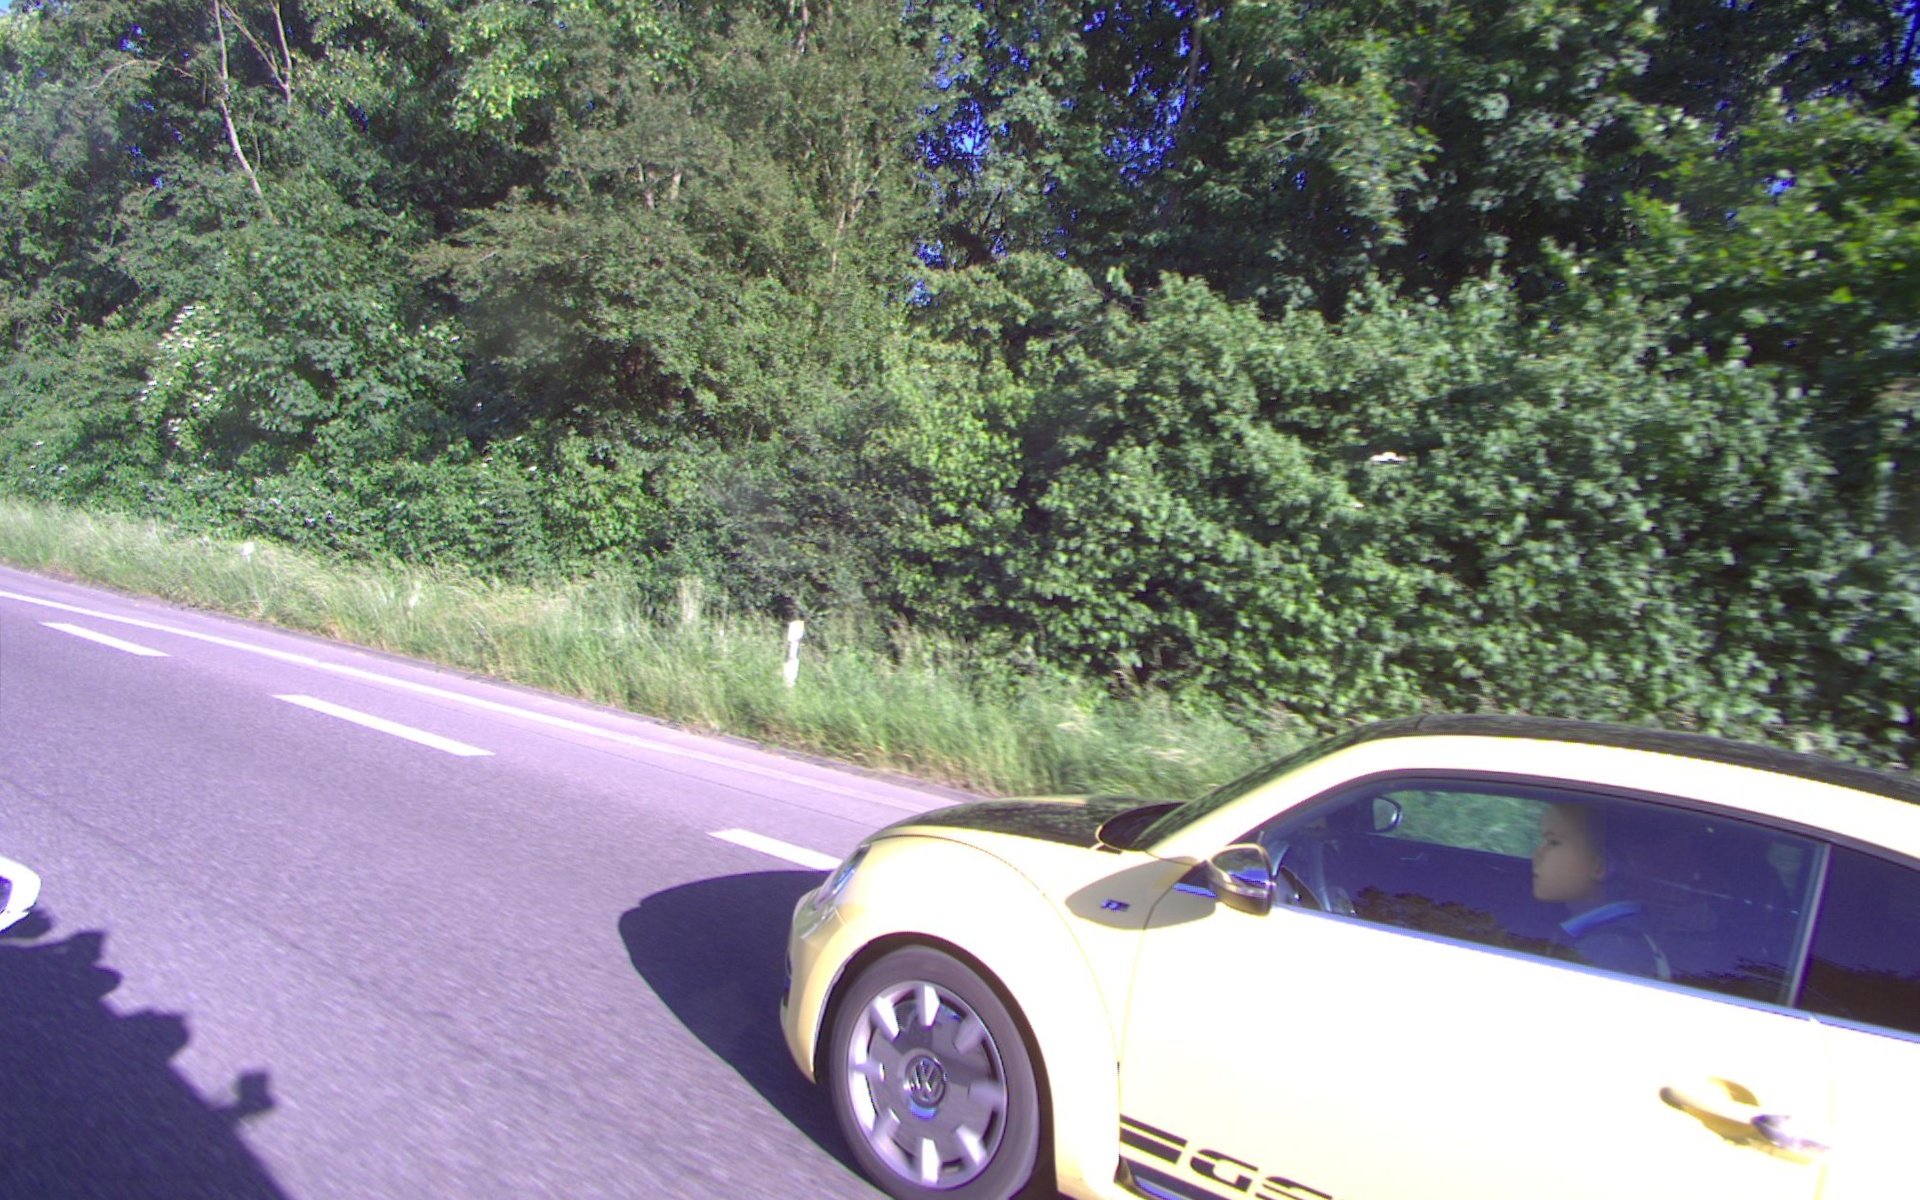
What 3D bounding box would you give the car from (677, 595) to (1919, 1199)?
[{"bbox_3d":[1.564,1.027,2.653,4.282,1.479,1.883,7,-1,30],"label":"car"}]
